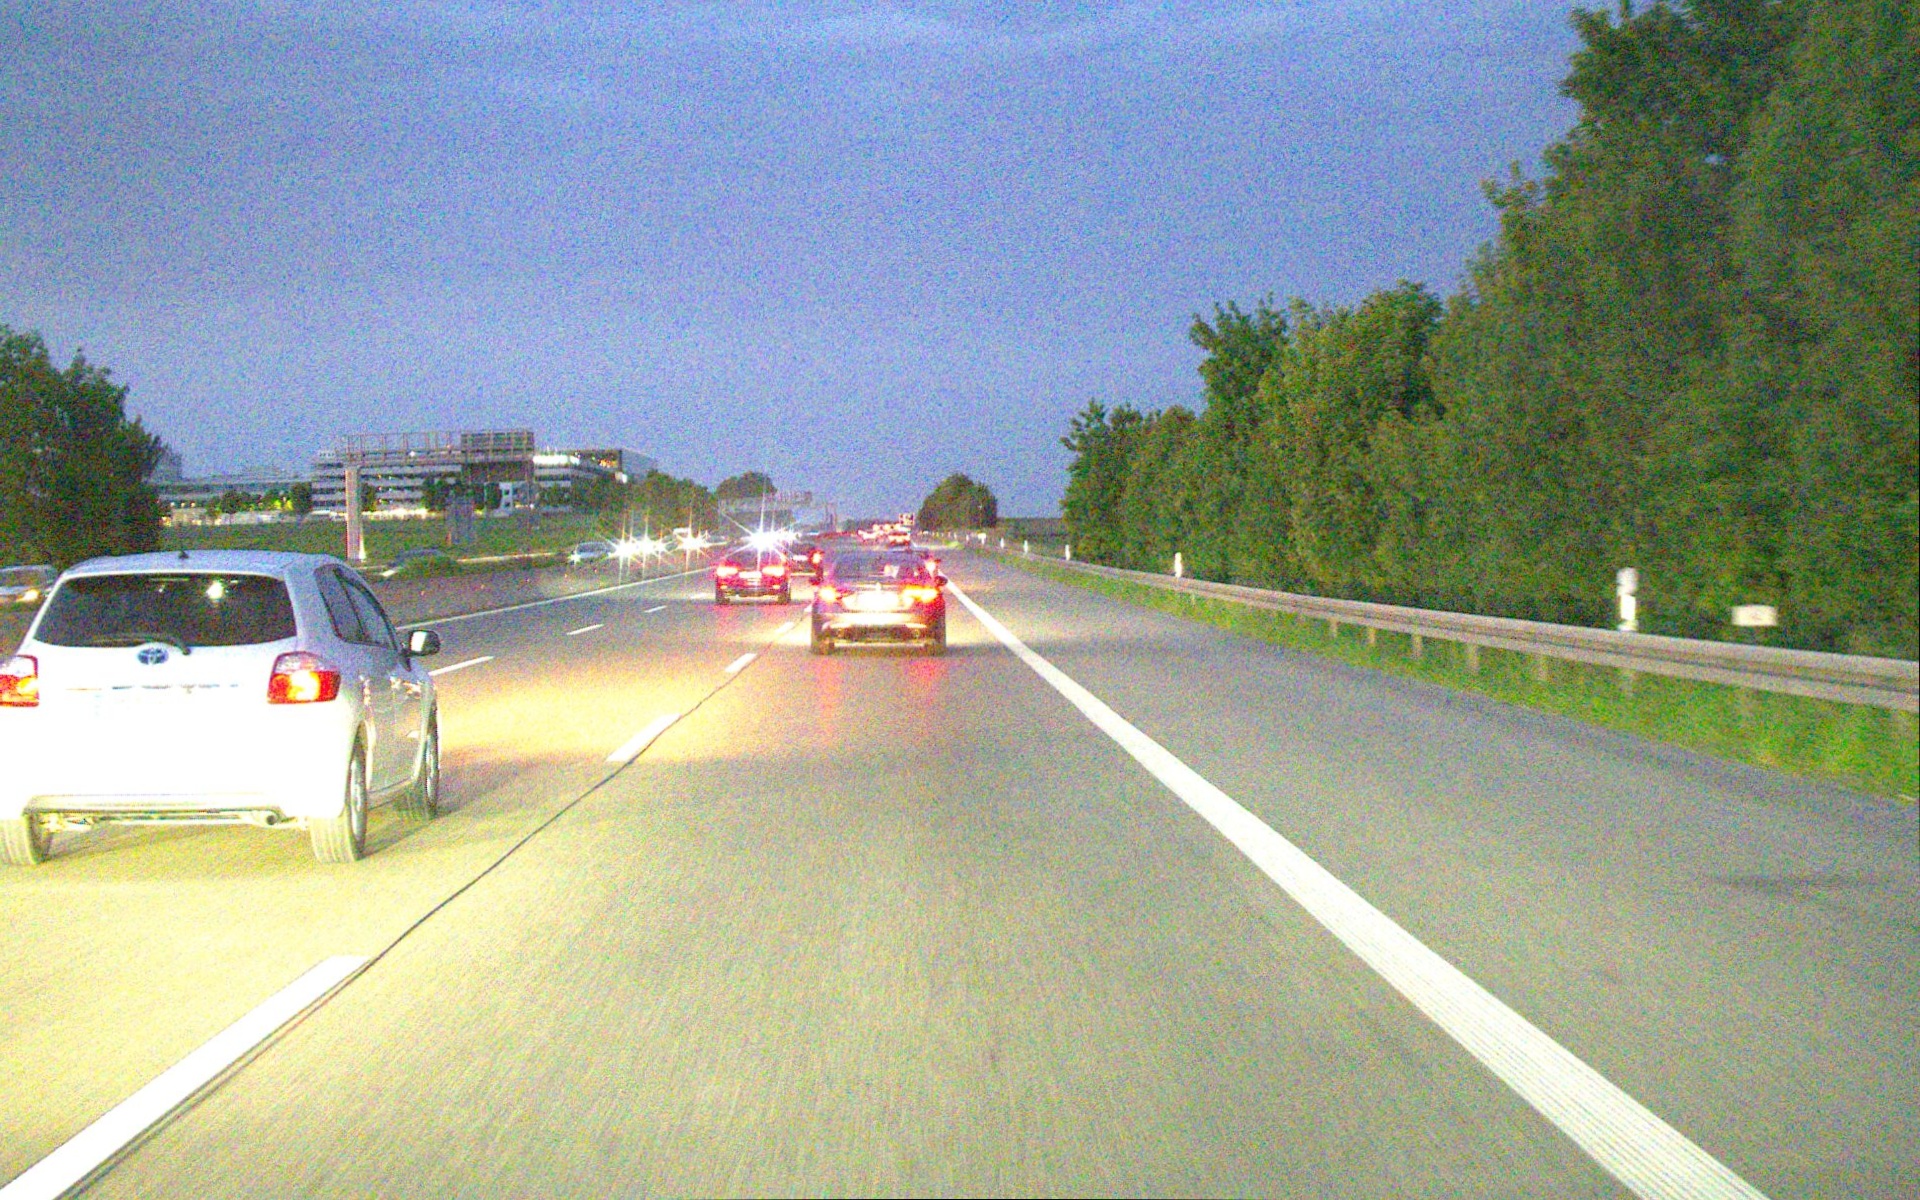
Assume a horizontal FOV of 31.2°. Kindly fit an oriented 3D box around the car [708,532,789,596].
[{"bbox_3d":[-5.263,-0.904,85.893,1.880,1.547,4.000,0,1,-2],"label":"car"}]

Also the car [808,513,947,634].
[{"bbox_3d":[-1.167,-0.381,48.609,1.880,1.637,4.000,0,1,-1],"label":"car"}]

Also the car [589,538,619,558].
[{"bbox_3d":[-24.386,-3.562,235.752,1.744,1.357,4.112,0,1,-1],"label":"car"}]

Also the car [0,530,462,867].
[{"bbox_3d":[-3.755,0.421,17.834,1.744,1.519,4.414,0,1,-1],"label":"car"}]

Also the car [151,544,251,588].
[{"bbox_3d":[-20.954,-0.937,95.059,1.931,1.174,4.000,0,1,-1],"label":"car"}]

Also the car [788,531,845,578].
[{"bbox_3d":[-5.799,-1.827,139.294,2.199,1.873,4.000,0,1,-1],"label":"car"}]

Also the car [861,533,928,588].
[{"bbox_3d":[-1.908,-1.158,99.621,1.880,1.547,4.000,0,1,-2],"label":"car"}]

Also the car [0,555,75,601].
[{"bbox_3d":[-24.686,-0.601,90.743,1.718,1.174,4.000,0,1,-1],"label":"car"}]
